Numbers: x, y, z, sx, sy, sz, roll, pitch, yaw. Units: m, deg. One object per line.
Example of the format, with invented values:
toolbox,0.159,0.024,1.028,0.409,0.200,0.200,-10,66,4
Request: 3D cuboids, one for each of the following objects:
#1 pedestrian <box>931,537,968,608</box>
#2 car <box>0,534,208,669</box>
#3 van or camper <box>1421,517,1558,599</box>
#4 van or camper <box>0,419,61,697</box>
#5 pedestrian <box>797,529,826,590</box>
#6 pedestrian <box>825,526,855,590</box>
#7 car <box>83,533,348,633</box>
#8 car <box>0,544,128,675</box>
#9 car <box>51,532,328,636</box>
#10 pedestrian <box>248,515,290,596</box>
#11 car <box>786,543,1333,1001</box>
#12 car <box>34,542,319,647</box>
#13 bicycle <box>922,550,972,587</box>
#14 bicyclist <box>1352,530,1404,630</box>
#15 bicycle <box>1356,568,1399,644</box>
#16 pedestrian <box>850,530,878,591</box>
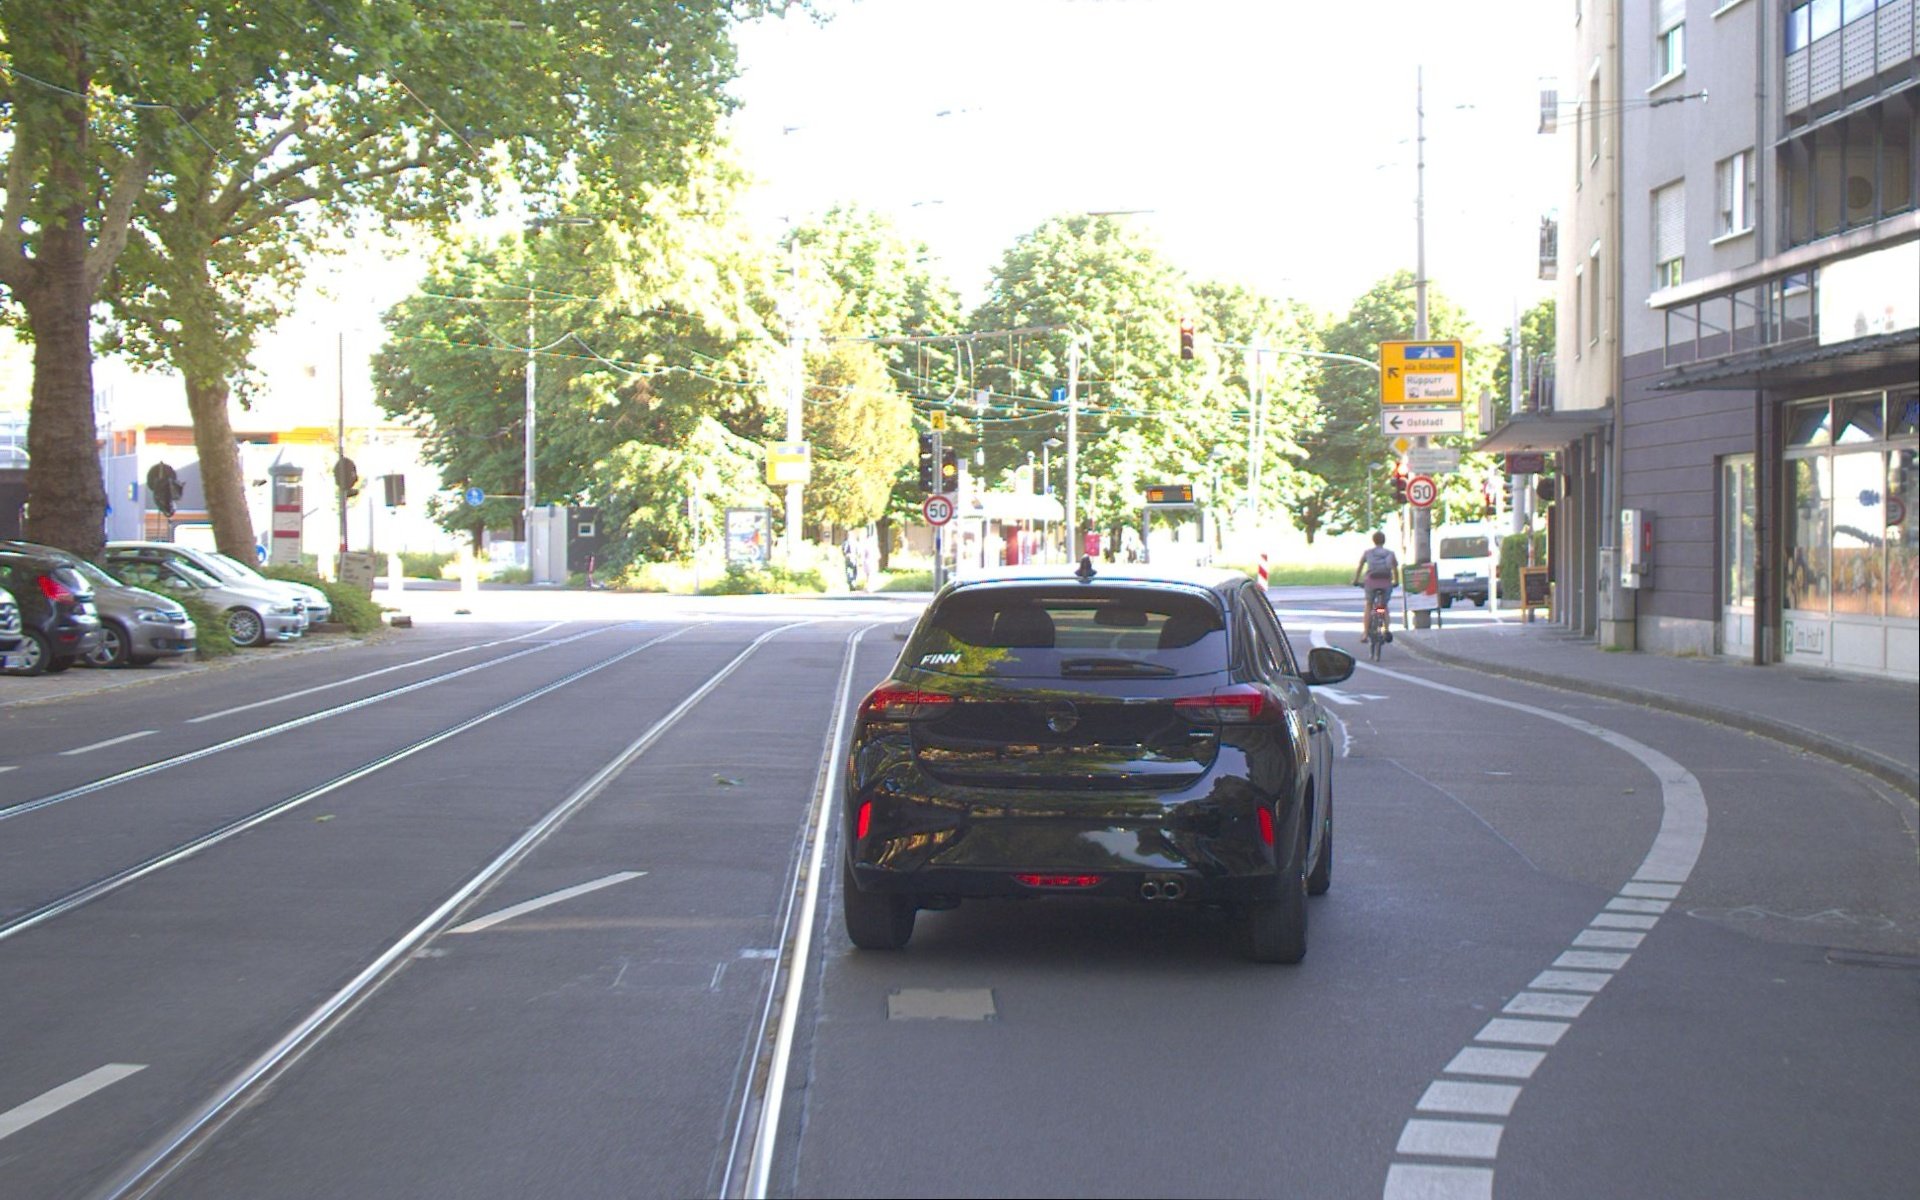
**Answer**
pedestrian,-0.205,-0.536,66.116,0.653,1.359,0.645,0,1,6
car,-11.815,-0.010,44.030,3.987,1.645,1.650,1,1,0
van or camper,14.301,-1.121,92.657,2.172,2.138,4.498,2,1,29
van or camper,-11.971,-0.472,33.636,5.723,2.635,2.269,1,1,0
pedestrian,-4.483,-1.225,103.889,0.617,1.847,0.583,2,1,26
pedestrian,-3.637,-1.262,104.374,0.658,1.926,0.608,2,1,31
car,-12.636,-0.303,58.577,4.167,1.665,1.965,0,1,-4
car,-12.222,0.072,41.408,3.987,1.510,1.650,1,1,0
car,-12.545,-0.275,56.177,4.167,1.665,1.965,0,1,-4
pedestrian,-19.095,-1.221,95.006,0.819,2.213,0.899,1,1,-35
car,0.542,0.543,13.639,1.782,1.491,3.999,1,1,7
car,-12.048,-0.094,53.029,3.987,1.510,1.650,1,1,0
bicycle,-0.349,-0.857,93.823,0.789,0.988,2.242,1,1,15
bicyclist,6.050,-0.296,49.723,0.706,1.430,0.702,0,1,11
bicycle,6.032,0.077,49.646,0.508,1.063,1.564,0,1,11
pedestrian,-2.898,-1.194,104.019,0.617,1.847,0.583,1,1,24
